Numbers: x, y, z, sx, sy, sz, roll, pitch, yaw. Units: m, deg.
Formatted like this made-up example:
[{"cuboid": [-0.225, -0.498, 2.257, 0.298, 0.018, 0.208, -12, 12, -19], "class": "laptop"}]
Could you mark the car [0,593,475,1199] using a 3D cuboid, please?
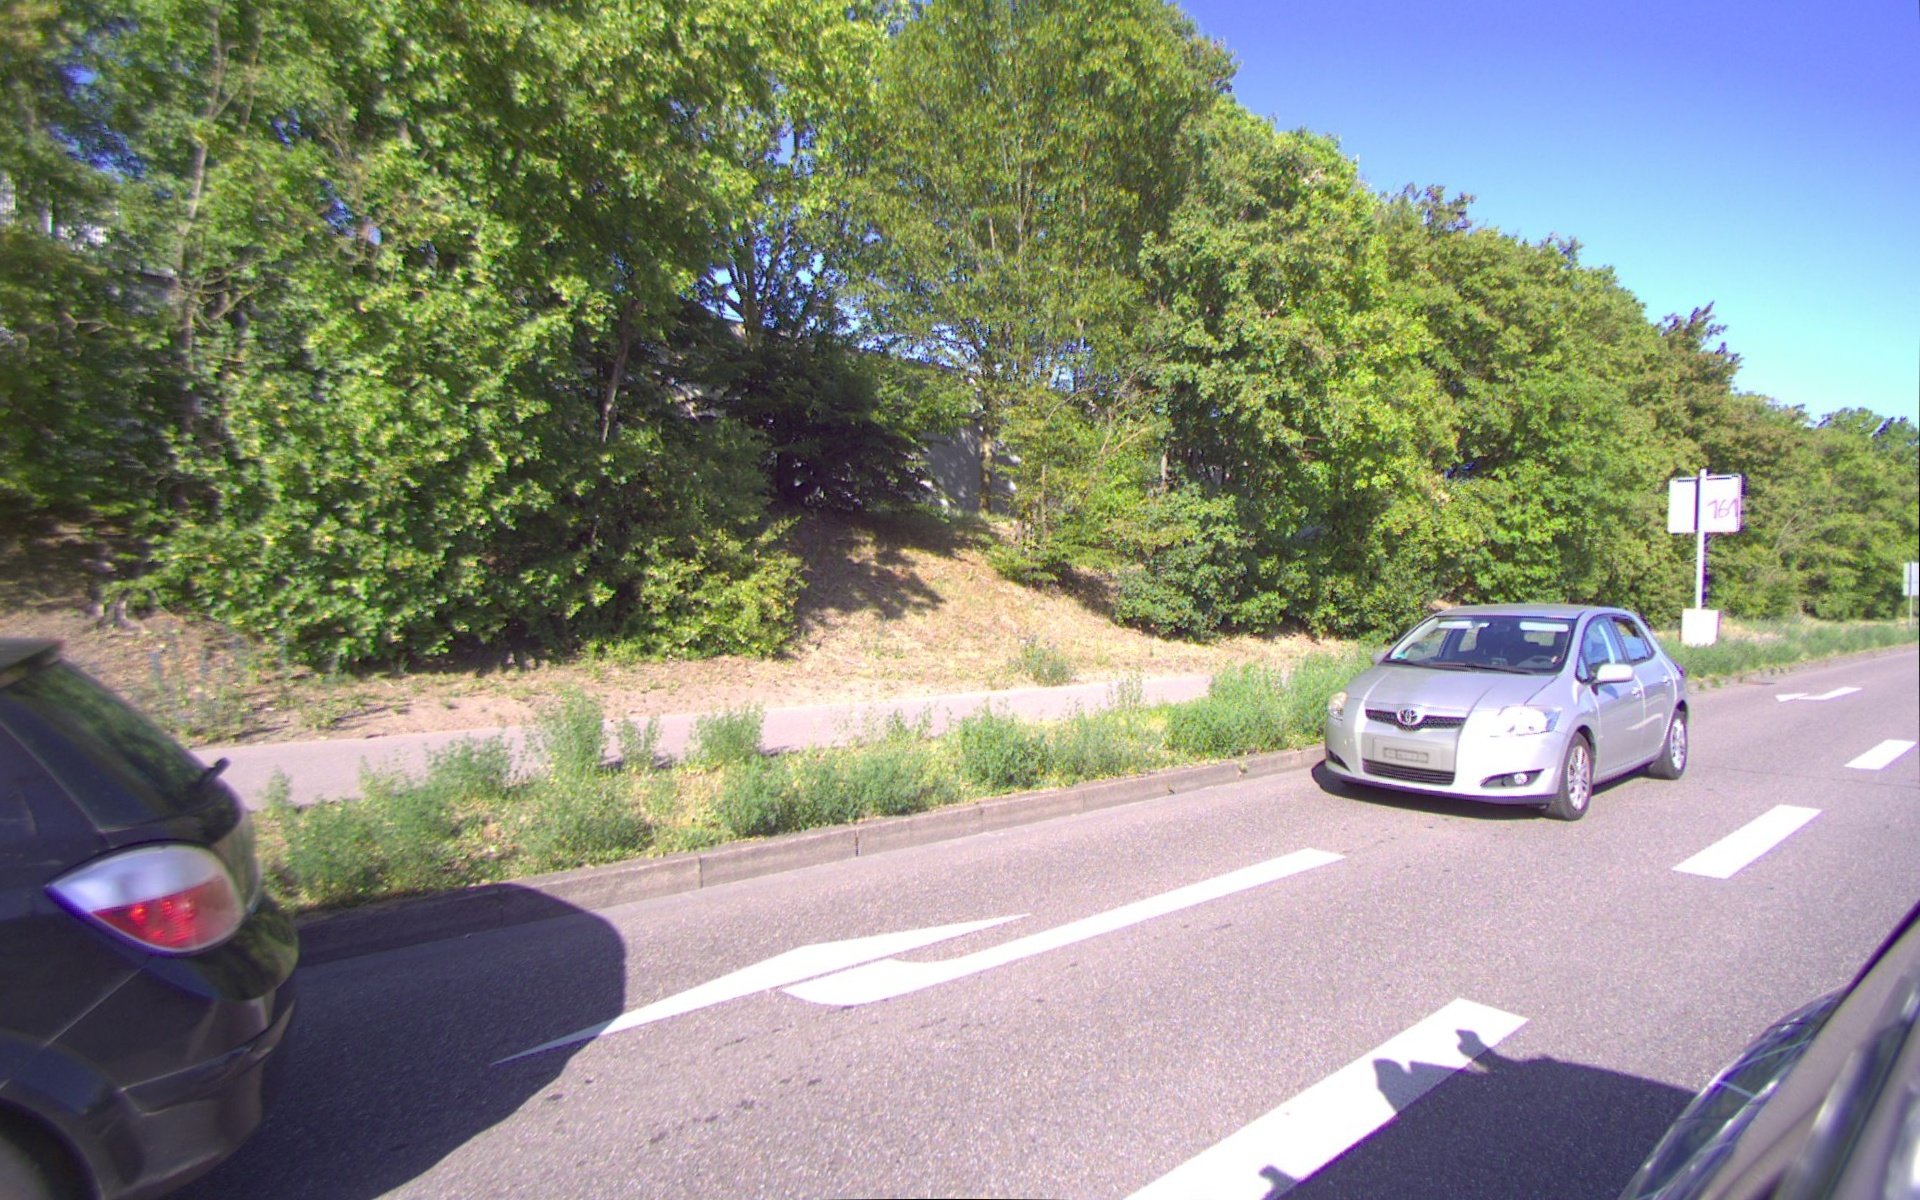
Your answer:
[{"cuboid": [-3.229, 0.722, 1.443, 4.295, 1.460, 1.737, 0, 0, -41], "class": "car"}]

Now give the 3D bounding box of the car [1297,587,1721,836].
[{"cuboid": [4.662, 0.700, 8.346, 4.036, 1.556, 1.786, 0, 0, -41], "class": "car"}]
